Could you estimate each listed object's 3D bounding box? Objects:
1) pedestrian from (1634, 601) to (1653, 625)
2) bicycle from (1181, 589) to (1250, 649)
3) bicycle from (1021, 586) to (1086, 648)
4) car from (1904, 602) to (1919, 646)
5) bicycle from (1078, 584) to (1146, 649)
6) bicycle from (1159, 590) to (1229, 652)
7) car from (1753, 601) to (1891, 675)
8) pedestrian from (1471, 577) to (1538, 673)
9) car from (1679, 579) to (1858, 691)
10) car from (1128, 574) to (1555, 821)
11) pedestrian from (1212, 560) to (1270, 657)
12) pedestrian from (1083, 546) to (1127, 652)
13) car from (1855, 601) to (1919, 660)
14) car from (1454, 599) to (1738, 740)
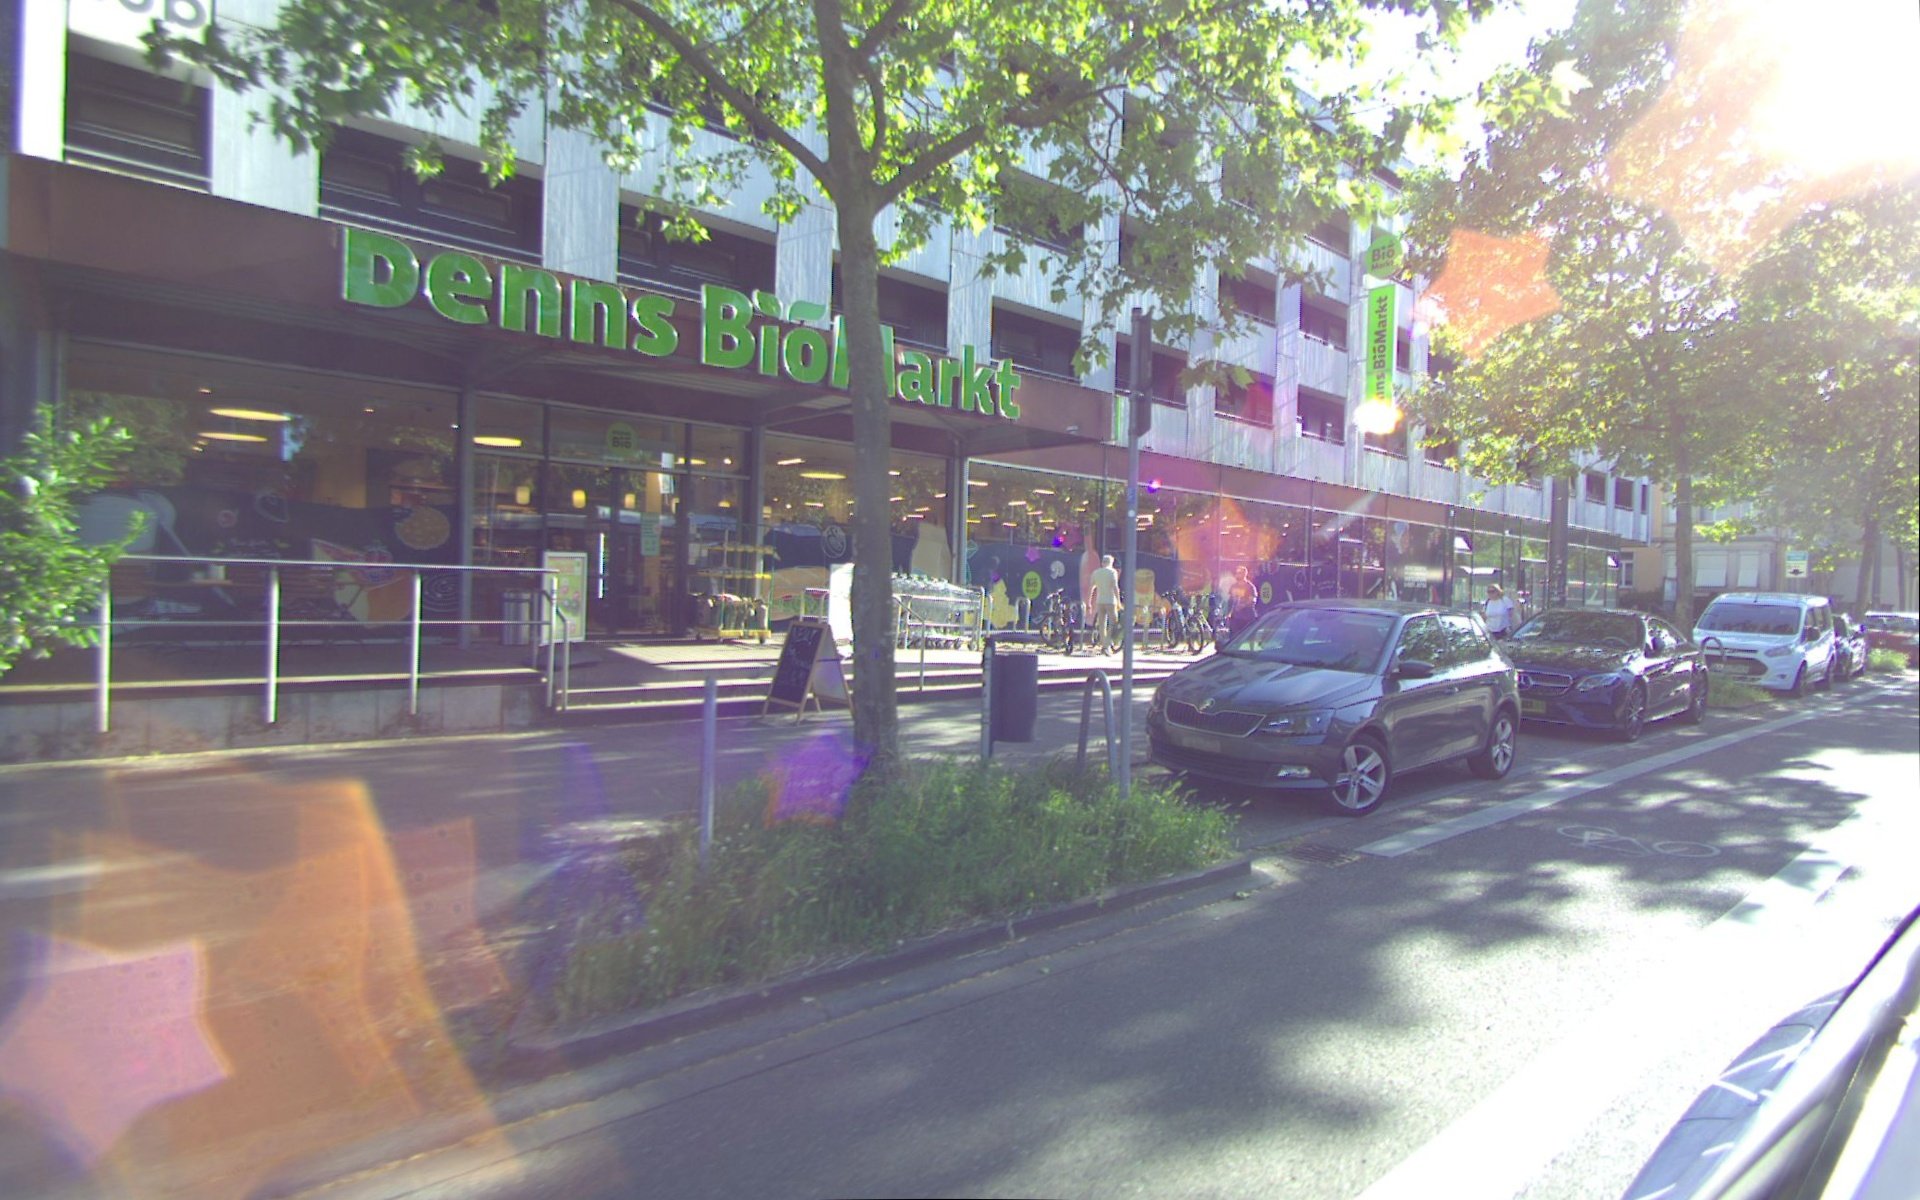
[{"bbox_3d":[32.811,0.626,48.570,0.672,1.123,0.560,1,1,-40],"label":"pedestrian"},{"bbox_3d":[5.188,0.363,20.655,0.573,1.068,1.709,2,3,-13],"label":"bicycle"},{"bbox_3d":[1.618,0.283,17.783,0.573,0.927,1.656,5,2,-13],"label":"bicycle"},{"bbox_3d":[34.523,0.859,35.490,3.861,1.459,1.629,0,2,-41],"label":"car"},{"bbox_3d":[2.812,0.281,18.877,0.573,1.068,1.709,5,1,-13],"label":"bicycle"},{"bbox_3d":[4.567,0.383,19.871,0.573,1.068,1.709,3,2,-13],"label":"bicycle"},{"bbox_3d":[19.460,0.792,22.791,4.220,1.420,1.732,0,3,-41],"label":"car"},{"bbox_3d":[9.658,0.425,17.957,0.852,1.632,0.700,1,3,-39],"label":"pedestrian"},{"bbox_3d":[15.086,0.586,18.807,4.315,1.814,1.768,1,2,-40],"label":"car"},{"bbox_3d":[3.276,0.611,8.327,3.929,1.570,1.568,0,1,-40],"label":"car"},{"bbox_3d":[5.092,0.142,18.335,0.867,1.698,0.559,1,3,-41],"label":"pedestrian"},{"bbox_3d":[2.493,-0.022,17.410,0.604,1.736,0.611,5,1,9],"label":"pedestrian"},{"bbox_3d":[27.013,0.840,28.926,3.627,1.455,1.676,-1,4,-42],"label":"car"},{"bbox_3d":[8.066,0.721,12.641,4.618,1.436,1.764,0,0,-41],"label":"car"}]
